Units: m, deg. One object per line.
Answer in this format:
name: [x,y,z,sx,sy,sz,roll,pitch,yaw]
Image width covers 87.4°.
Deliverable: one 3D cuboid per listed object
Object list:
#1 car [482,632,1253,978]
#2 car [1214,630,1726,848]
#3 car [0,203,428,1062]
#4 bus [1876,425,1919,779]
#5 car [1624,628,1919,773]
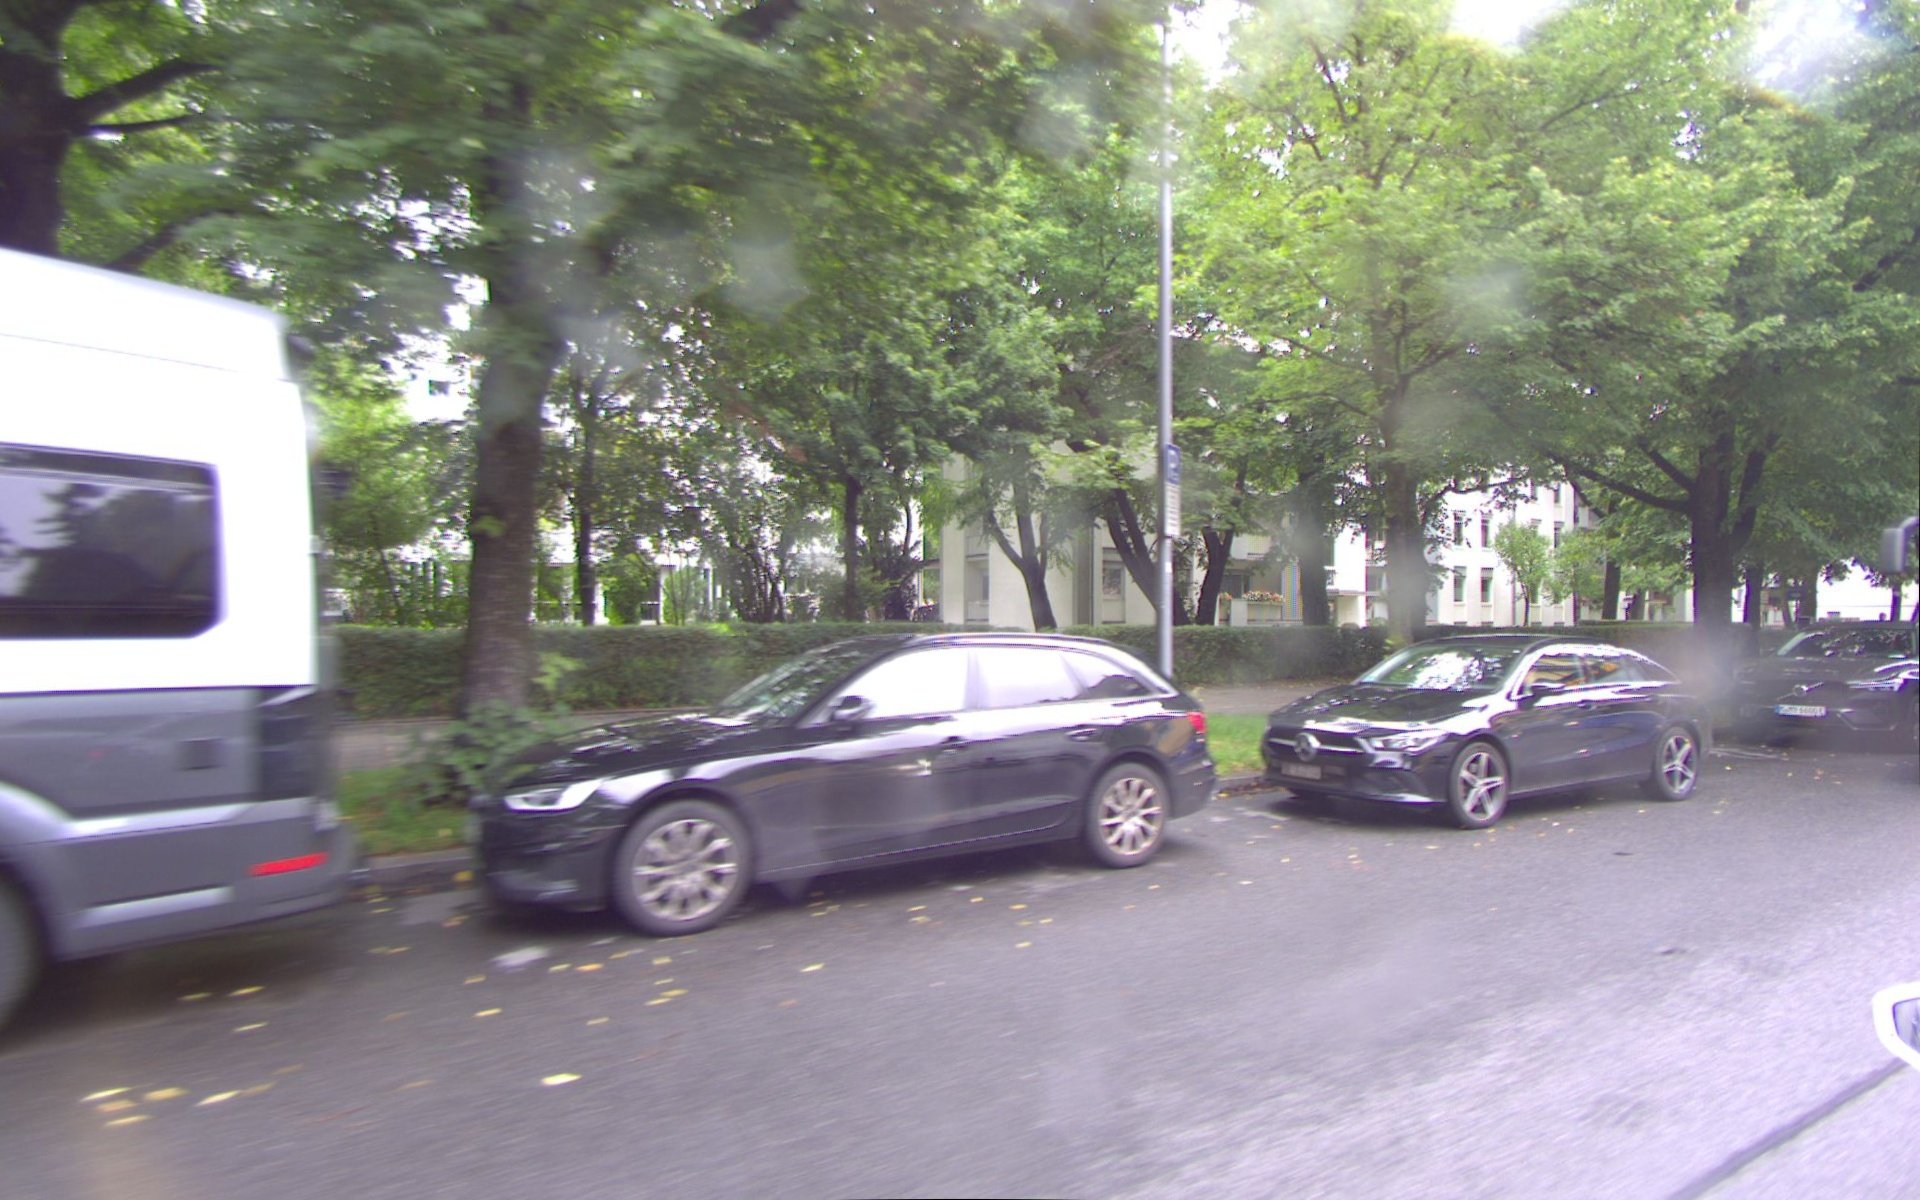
car: [-0.437,0.953,6.313,4.525,1.457,1.781,1,-1,-31]
car: [4.537,1.017,8.794,4.494,1.457,1.783,0,-1,-29]
car: [-5.295,0.055,3.222,6.168,2.892,1.934,2,-2,-32]
bus: [17.175,0.325,13.222,18.223,3.282,2.844,2,-2,-32]
car: [9.990,1.130,12.216,3.906,1.473,1.780,2,-2,-33]
